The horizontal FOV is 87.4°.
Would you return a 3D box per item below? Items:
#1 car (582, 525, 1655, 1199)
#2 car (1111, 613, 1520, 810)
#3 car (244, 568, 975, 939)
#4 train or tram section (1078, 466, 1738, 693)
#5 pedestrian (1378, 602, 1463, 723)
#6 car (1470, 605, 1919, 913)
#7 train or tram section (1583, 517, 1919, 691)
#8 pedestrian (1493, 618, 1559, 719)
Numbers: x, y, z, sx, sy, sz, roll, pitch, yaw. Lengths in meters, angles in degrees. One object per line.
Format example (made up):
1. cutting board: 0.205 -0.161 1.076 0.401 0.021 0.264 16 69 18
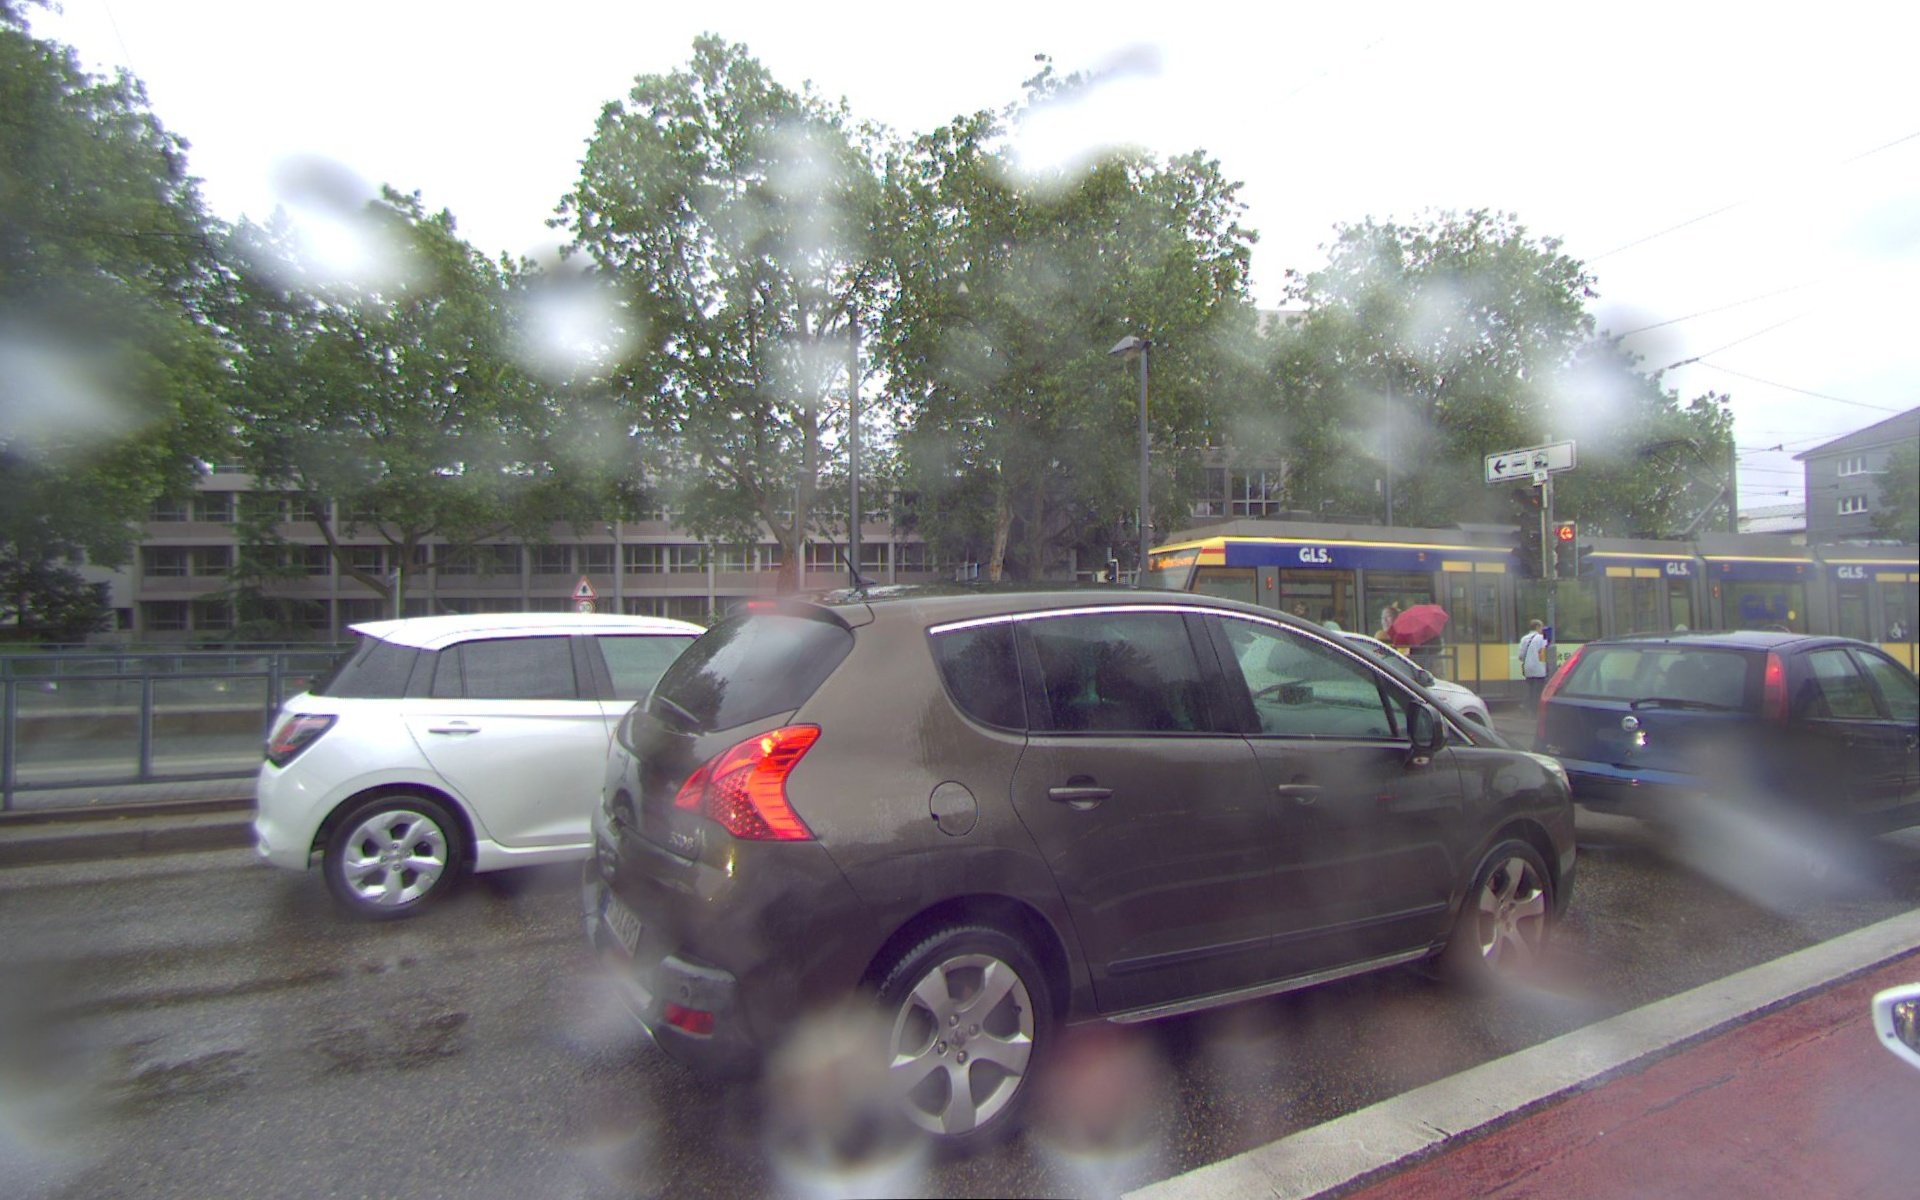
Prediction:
1. car: 0.787 0.722 4.116 4.124 1.690 1.825 1 -1 -30
2. car: 3.405 0.924 9.485 3.737 1.514 1.621 1 -1 -30
3. car: -1.944 0.738 6.157 3.791 1.650 1.637 1 -2 -30
4. train or tram section: 9.152 -0.169 19.875 13.459 3.559 3.506 2 0 -22
5. pedestrian: 7.032 0.940 15.344 0.888 1.769 0.762 0 -3 -30
6. car: 5.485 0.875 6.953 3.776 1.599 1.719 1 -1 -30
7. train or tram section: 22.616 0.247 23.065 15.215 3.458 3.548 2 0 -7
8. pedestrian: 9.353 1.115 16.604 0.731 1.628 0.623 1 0 -23
